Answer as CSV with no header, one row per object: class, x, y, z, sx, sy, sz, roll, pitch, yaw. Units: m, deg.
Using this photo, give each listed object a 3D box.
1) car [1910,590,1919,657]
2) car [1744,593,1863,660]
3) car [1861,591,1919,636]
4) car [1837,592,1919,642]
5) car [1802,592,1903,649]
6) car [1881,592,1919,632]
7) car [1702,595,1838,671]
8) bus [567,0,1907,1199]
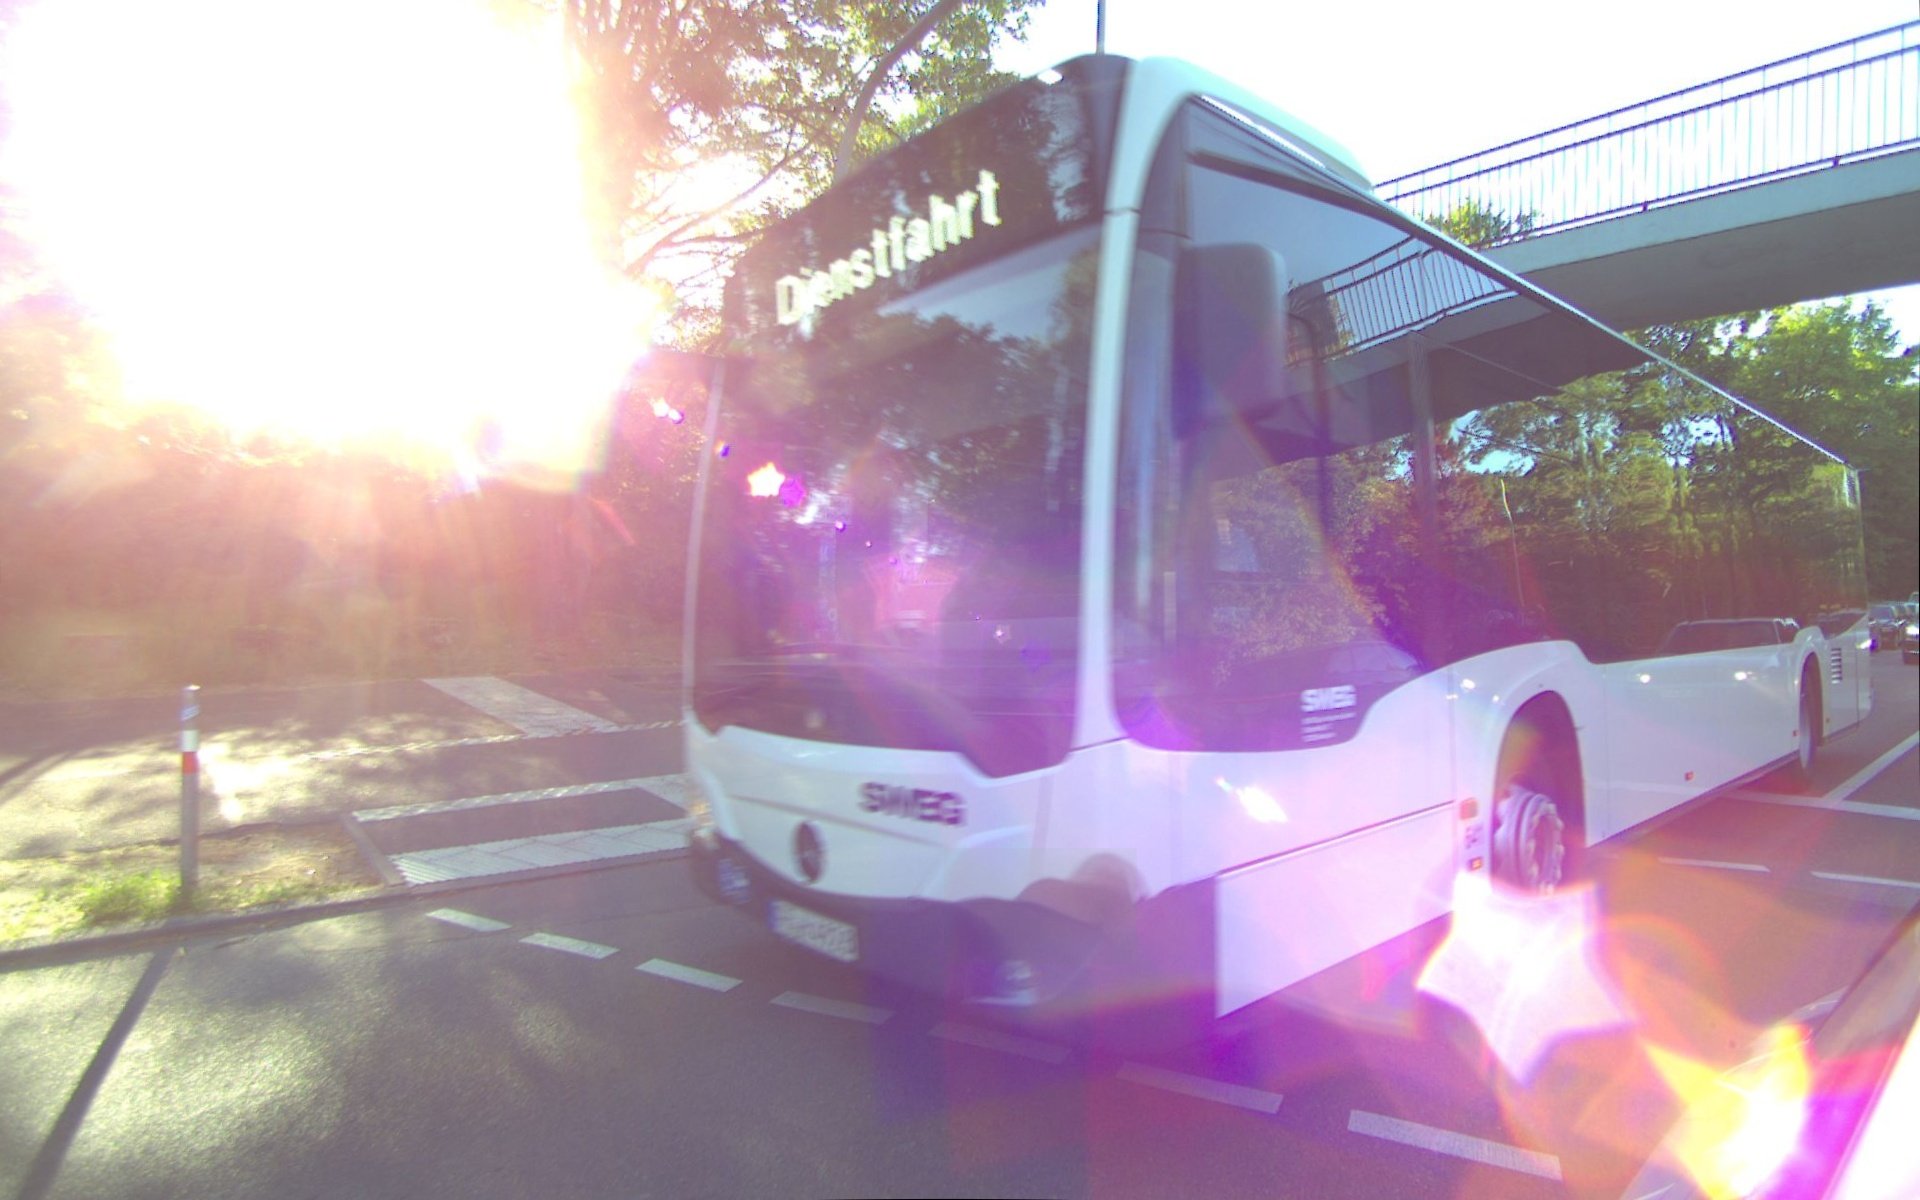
car,25.313,0.525,25.163,4.286,1.628,1.991,0,-2,-41
car,21.537,0.604,25.792,3.907,1.526,1.719,0,2,-41
car,34.969,0.462,37.580,4.152,1.526,1.736,0,2,-41
car,30.861,0.522,33.888,4.065,1.526,1.703,0,2,-41
car,26.801,0.562,30.355,4.081,1.526,1.736,0,2,-41
car,38.869,0.458,41.029,4.319,1.526,1.736,0,2,-41
car,18.219,0.664,22.698,4.054,1.527,1.693,0,1,-41
bus,3.816,-0.182,7.210,12.056,3.127,3.016,0,-1,-41
